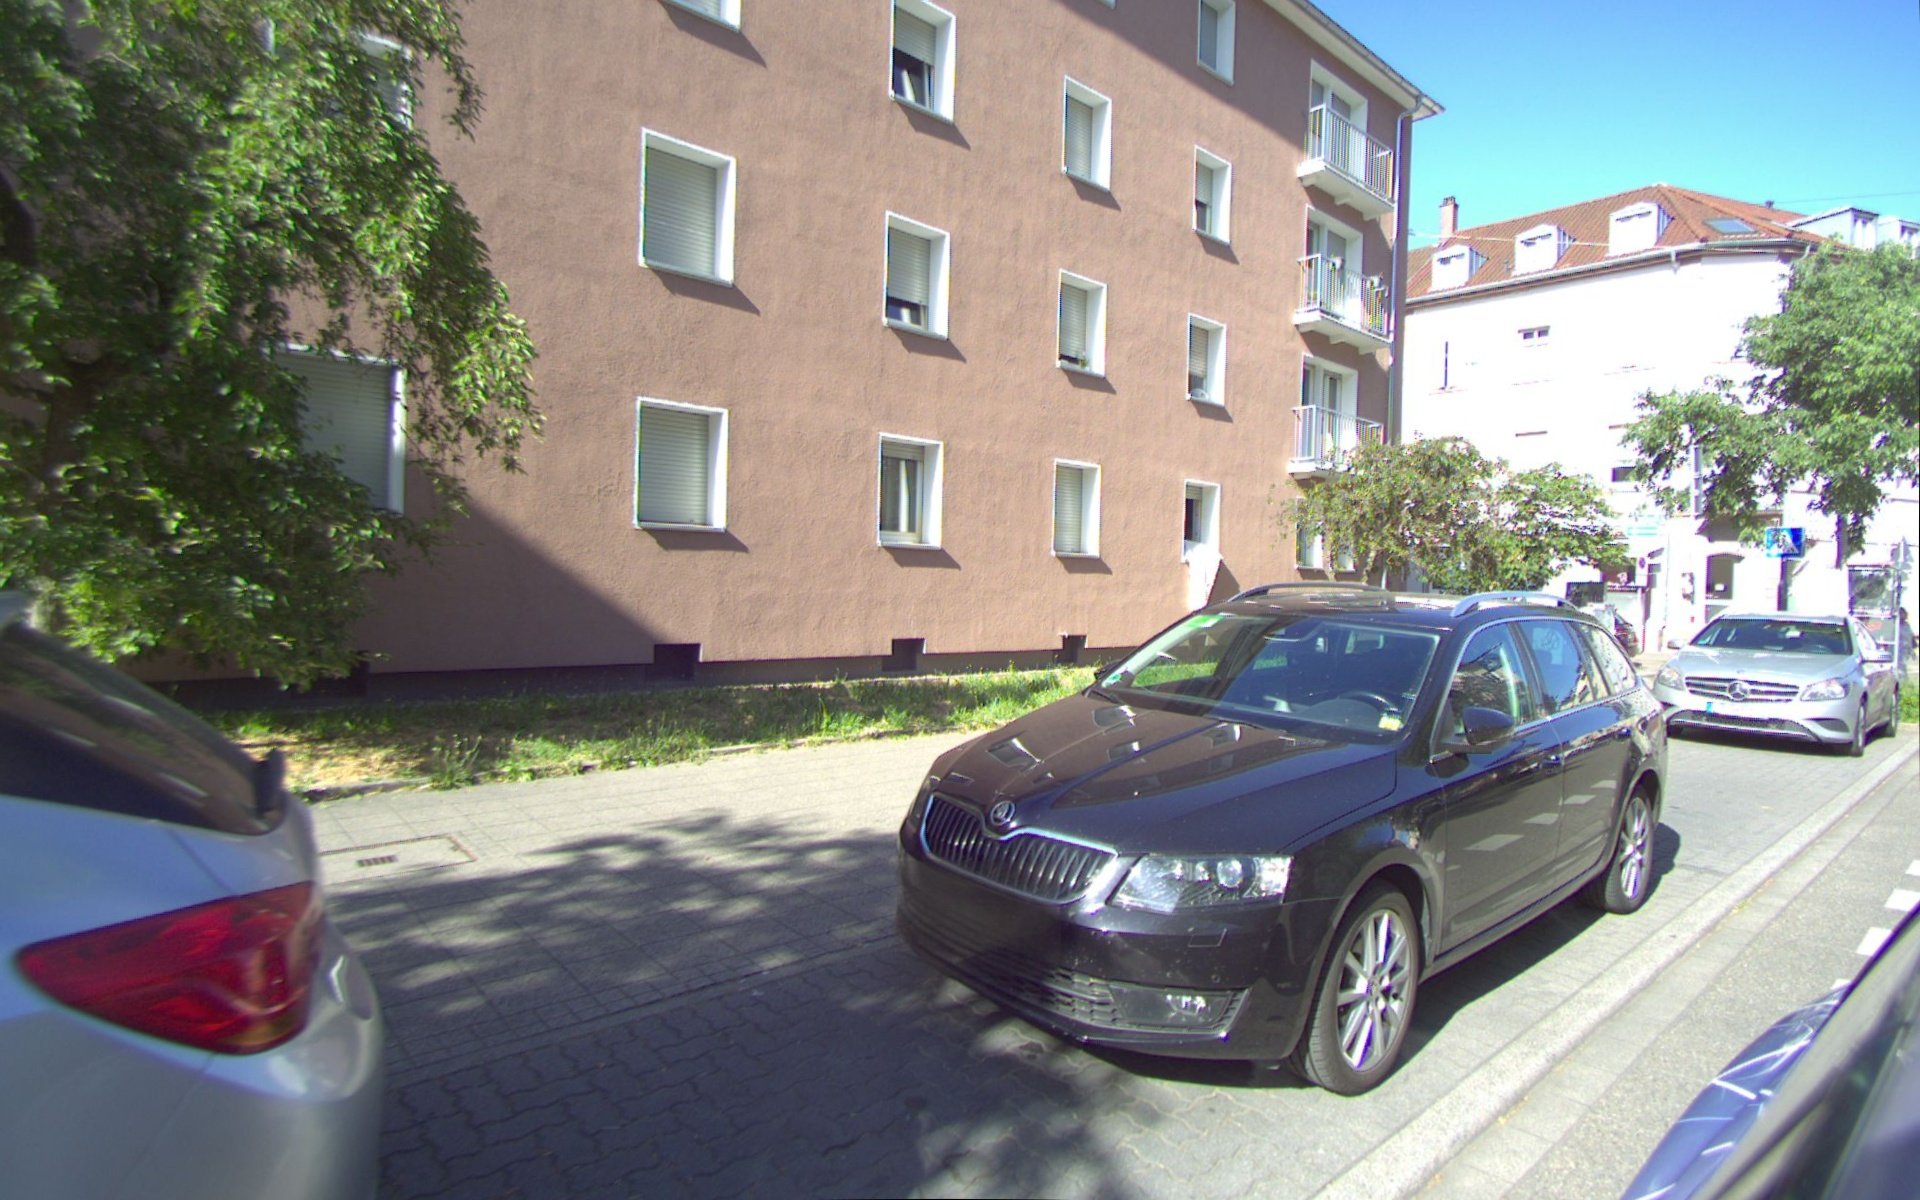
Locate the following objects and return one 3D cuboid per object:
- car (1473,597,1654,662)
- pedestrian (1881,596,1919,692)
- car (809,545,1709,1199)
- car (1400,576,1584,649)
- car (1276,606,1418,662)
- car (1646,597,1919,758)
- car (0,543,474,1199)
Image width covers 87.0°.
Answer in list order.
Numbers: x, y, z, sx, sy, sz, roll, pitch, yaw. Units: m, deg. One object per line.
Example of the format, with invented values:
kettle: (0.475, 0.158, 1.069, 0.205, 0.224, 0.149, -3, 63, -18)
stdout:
car: (15.248, 0.700, 25.710, 1.540, 1.420, 3.646, 1, 1, -41)
pedestrian: (17.124, 0.779, 18.180, 0.794, 1.660, 0.726, 1, 1, -42)
car: (1.616, 0.612, 4.331, 4.236, 1.500, 1.661, 1, 1, -41)
car: (16.671, 0.317, 31.870, 4.745, 2.039, 1.968, 3, 1, 45)
car: (11.415, 0.954, 30.014, 1.540, 1.420, 3.646, 1, 1, -41)
car: (9.361, 0.733, 11.384, 3.930, 1.446, 1.735, 1, 1, -41)
car: (-2.715, 0.651, 0.760, 3.930, 1.471, 1.719, 0, 3, -41)
